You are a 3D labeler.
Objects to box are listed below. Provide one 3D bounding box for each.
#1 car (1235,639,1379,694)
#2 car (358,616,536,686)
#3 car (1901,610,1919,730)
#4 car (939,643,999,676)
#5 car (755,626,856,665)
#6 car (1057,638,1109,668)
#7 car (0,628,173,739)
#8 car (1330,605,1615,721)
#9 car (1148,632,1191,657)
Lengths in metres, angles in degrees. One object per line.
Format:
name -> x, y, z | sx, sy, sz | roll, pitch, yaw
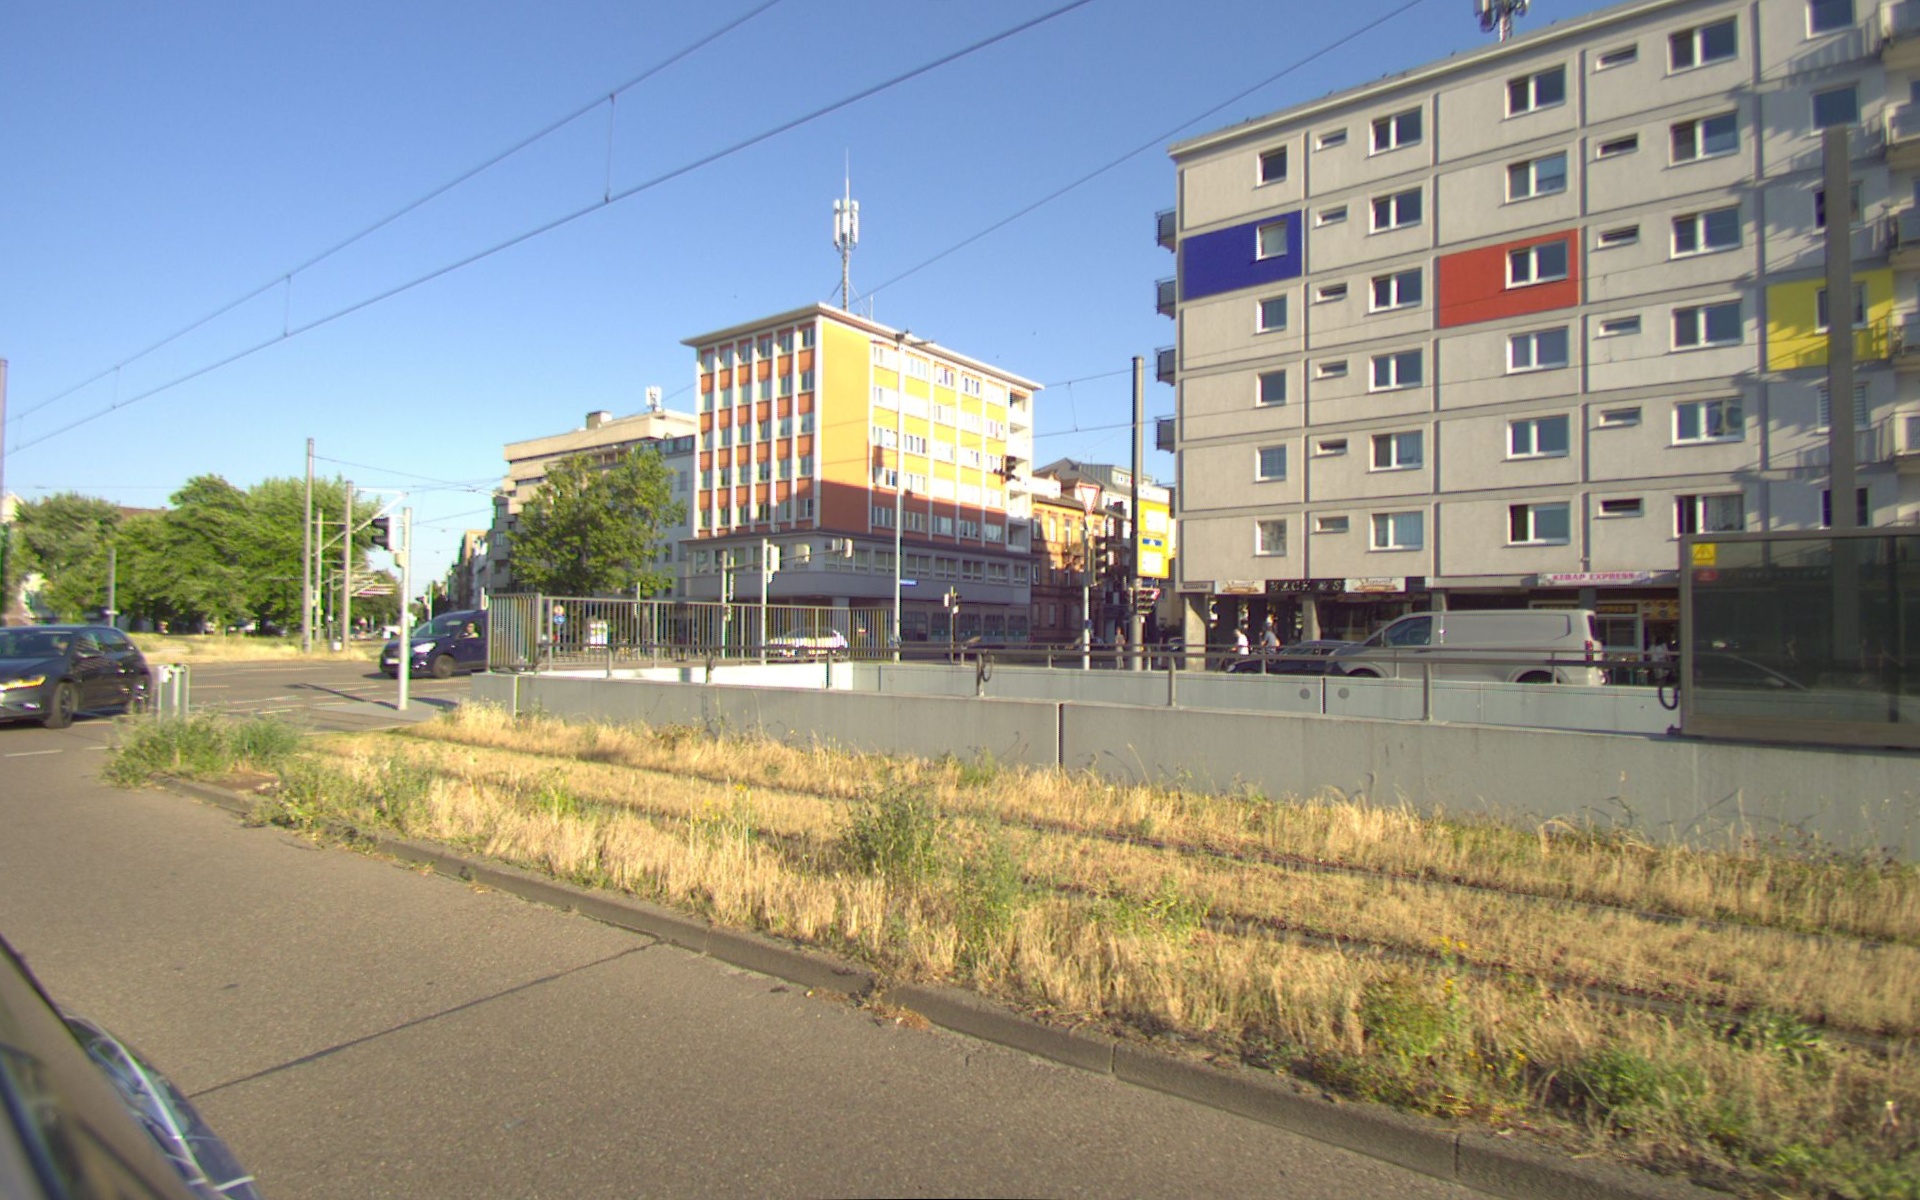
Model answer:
car -> 8.572, 1.609, 25.051 | 3.179, 1.297, 1.216 | -1, -3, 32
car -> -13.696, 1.329, 27.287 | 1.759, 1.746, 4.115 | -1, -2, 23
car -> 17.072, 1.030, 14.625 | 4.889, 1.811, 1.974 | -2, -3, 39
car -> 0.602, 3.669, 62.672 | 1.739, 1.794, 3.950 | -1, 0, 37
car -> -6.504, 1.909, 42.946 | 1.831, 1.549, 4.227 | -1, -2, 35
car -> 8.317, 3.566, 68.268 | 1.739, 1.794, 3.950 | -1, 0, 37
car -> -13.580, 1.133, 14.943 | 1.740, 1.437, 4.258 | 1, -2, -18
car -> 10.036, 1.168, 20.003 | 4.766, 2.029, 1.975 | -1, -2, 37
car -> 16.417, 3.457, 79.285 | 1.739, 1.794, 3.950 | -1, 0, 37
